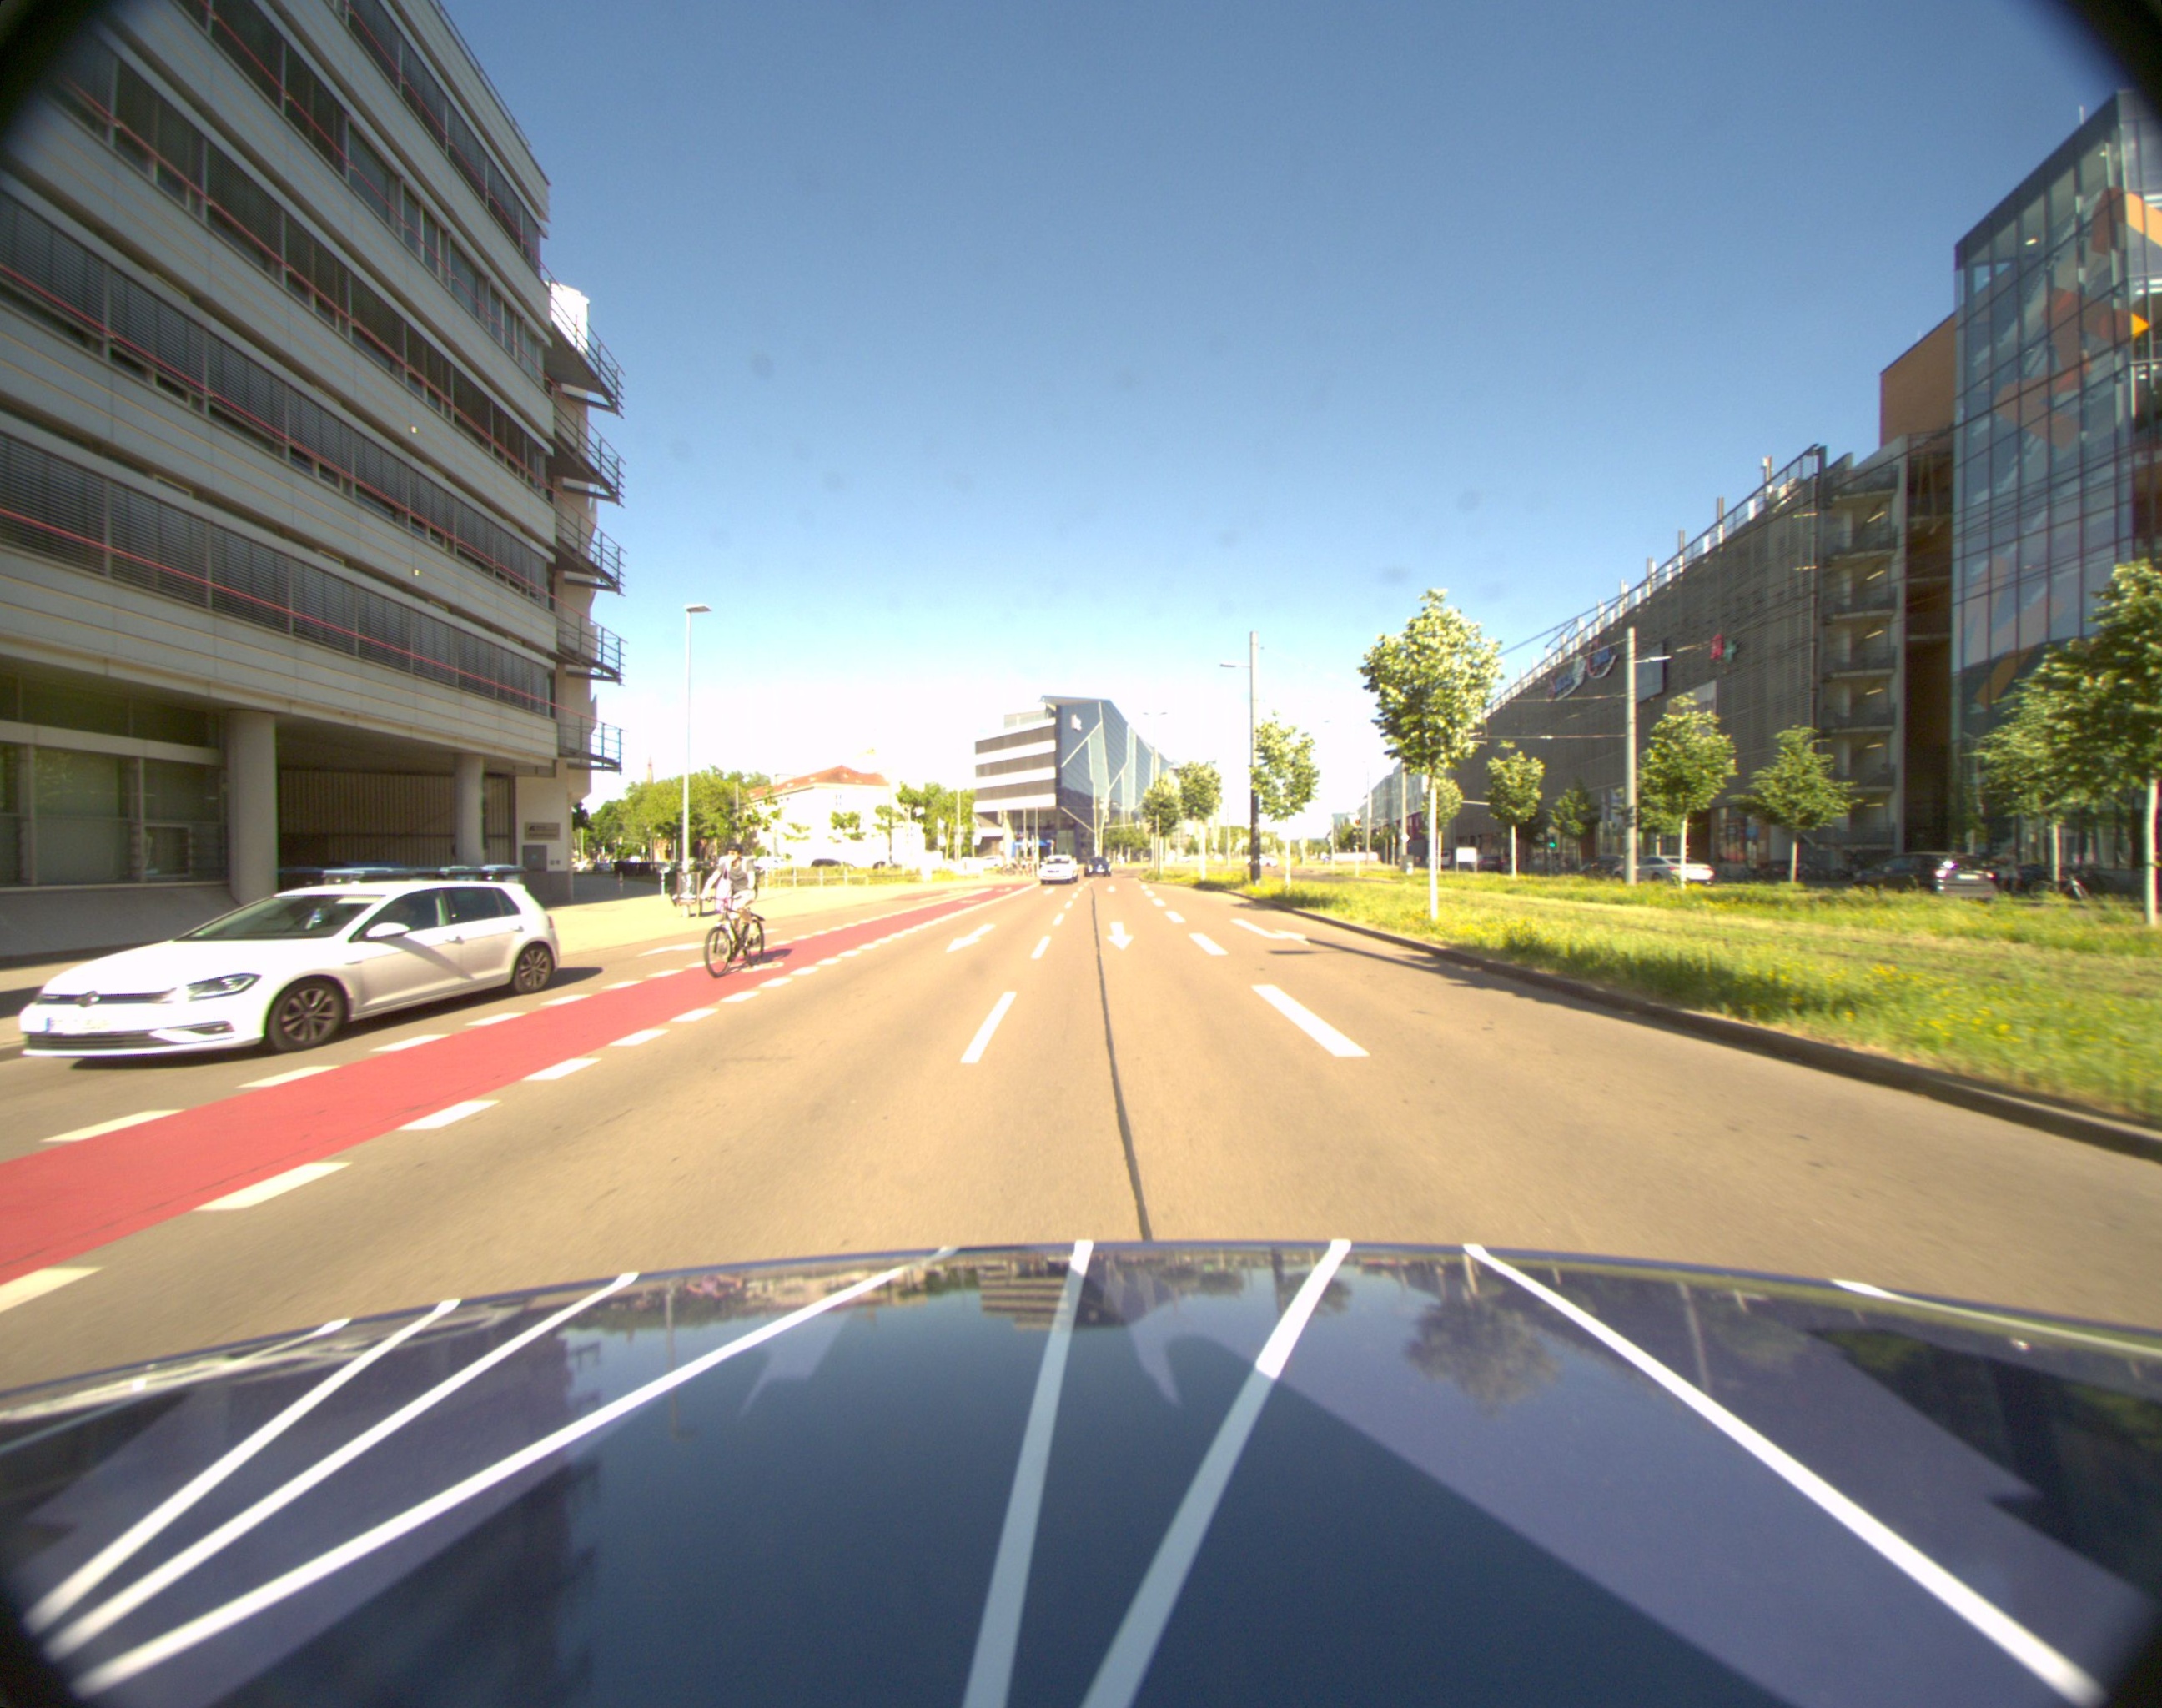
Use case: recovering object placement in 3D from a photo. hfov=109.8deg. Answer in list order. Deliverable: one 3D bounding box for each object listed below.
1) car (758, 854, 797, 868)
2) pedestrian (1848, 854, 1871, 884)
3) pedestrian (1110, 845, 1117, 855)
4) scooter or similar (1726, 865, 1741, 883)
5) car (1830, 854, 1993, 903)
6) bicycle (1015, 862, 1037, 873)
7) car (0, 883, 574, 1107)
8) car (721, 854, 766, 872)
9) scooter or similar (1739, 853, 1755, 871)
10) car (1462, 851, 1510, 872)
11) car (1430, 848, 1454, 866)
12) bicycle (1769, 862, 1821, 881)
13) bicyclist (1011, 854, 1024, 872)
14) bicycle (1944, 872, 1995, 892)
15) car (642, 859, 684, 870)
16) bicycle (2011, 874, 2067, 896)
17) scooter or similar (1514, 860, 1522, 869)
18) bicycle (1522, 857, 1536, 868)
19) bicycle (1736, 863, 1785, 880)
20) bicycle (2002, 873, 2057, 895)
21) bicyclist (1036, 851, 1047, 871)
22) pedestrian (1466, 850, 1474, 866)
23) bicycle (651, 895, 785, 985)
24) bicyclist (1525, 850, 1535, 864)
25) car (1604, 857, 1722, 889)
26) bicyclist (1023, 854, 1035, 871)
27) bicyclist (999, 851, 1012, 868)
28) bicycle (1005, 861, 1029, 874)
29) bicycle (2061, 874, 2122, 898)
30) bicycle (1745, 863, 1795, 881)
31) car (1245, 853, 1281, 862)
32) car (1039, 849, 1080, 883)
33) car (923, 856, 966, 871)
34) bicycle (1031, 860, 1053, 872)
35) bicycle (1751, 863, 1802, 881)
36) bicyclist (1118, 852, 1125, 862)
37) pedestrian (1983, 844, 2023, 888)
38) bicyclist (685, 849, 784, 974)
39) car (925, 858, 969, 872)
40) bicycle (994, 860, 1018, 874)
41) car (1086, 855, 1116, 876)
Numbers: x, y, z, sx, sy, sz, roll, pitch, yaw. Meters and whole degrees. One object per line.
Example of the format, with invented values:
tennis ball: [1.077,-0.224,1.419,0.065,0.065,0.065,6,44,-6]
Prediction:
car: [-35.941,0.821,89.878,3.991,1.547,1.877,0,1,20]
pedestrian: [40.698,0.777,39.719,0.636,1.544,0.662,0,1,21]
pedestrian: [4.949,-0.641,116.311,0.855,1.547,0.614,0,1,20]
scooter or similar: [41.593,1.251,48.433,0.276,1.096,1.207,0,2,17]
car: [25.055,0.702,23.090,1.431,1.351,3.296,0,0,2]
bicycle: [-4.684,1.132,64.945,1.704,0.948,0.697,1,0,14]
car: [-7.521,1.116,7.647,1.777,1.395,4.294,-3,0,2]
car: [-38.612,1.057,86.964,4.645,1.970,1.877,0,1,16]
scooter or similar: [42.306,0.501,48.297,0.276,1.096,1.207,0,2,17]
car: [34.819,0.609,65.425,1.998,1.671,4.540,0,0,5]
car: [41.208,0.312,86.886,2.223,2.002,5.264,0,0,22]
bicycle: [38.830,0.956,41.346,2.177,0.949,0.493,-1,1,9]
bicyclist: [-5.945,0.864,71.129,1.001,1.645,0.596,4,1,17]
bicycle: [37.685,1.175,32.241,1.449,0.814,0.446,-1,1,9]
car: [-50.530,1.236,91.851,4.644,1.263,1.878,0,1,21]
bicycle: [37.372,1.212,29.649,1.449,0.814,0.446,-1,1,9]
scooter or similar: [42.684,1.013,74.258,0.301,0.846,1.228,0,1,12]
bicycle: [46.485,0.879,78.837,0.597,1.004,2.572,0,0,16]
bicycle: [39.085,0.994,43.738,2.177,0.949,0.493,-1,1,9]
bicycle: [37.627,1.202,30.153,1.449,0.814,0.446,-1,1,9]
bicyclist: [-3.593,0.618,69.398,0.905,1.787,0.550,1,0,9]
pedestrian: [43.150,0.484,84.272,0.589,1.741,0.625,0,1,-4]
bicycle: [-5.076,1.170,10.791,0.827,1.031,1.892,-2,0,5]
bicyclist: [46.435,0.313,78.622,0.592,1.399,1.314,0,1,16]
car: [26.161,0.812,34.391,1.998,1.326,4.792,0,0,5]
bicyclist: [-4.457,0.711,64.842,0.826,1.395,0.590,1,0,14]
bicyclist: [-6.283,0.451,63.402,0.736,1.369,0.698,1,-1,35]
bicycle: [-5.963,1.269,71.115,2.007,1.098,0.698,3,-2,17]
bicycle: [37.113,1.167,27.910,1.449,0.814,0.446,-1,1,9]
bicycle: [39.076,1.013,43.118,2.177,0.949,0.493,-1,1,9]
car: [23.322,0.458,97.219,3.989,1.084,2.004,0,0,34]
car: [-1.182,0.646,44.147,1.873,1.621,4.337,-1,3,5]
car: [-14.293,1.003,79.687,3.992,1.547,1.877,0,1,15]
bicycle: [-3.597,1.114,69.396,1.893,1.032,0.607,1,0,9]
bicycle: [38.955,1.019,42.552,2.177,0.949,0.493,-1,1,9]
bicyclist: [5.593,0.386,105.608,0.760,1.402,0.773,0,1,27]
pedestrian: [35.701,0.472,29.418,0.597,1.675,0.778,0,1,1]
bicyclist: [-4.912,0.782,10.837,0.808,1.683,1.051,-2,1,5]
car: [-14.827,1.184,84.101,4.475,1.423,1.843,0,2,15]
bicycle: [-6.226,1.091,63.340,2.005,1.098,0.698,1,-1,35]
car: [1.595,0.862,58.484,1.872,1.547,4.002,0,0,7]
